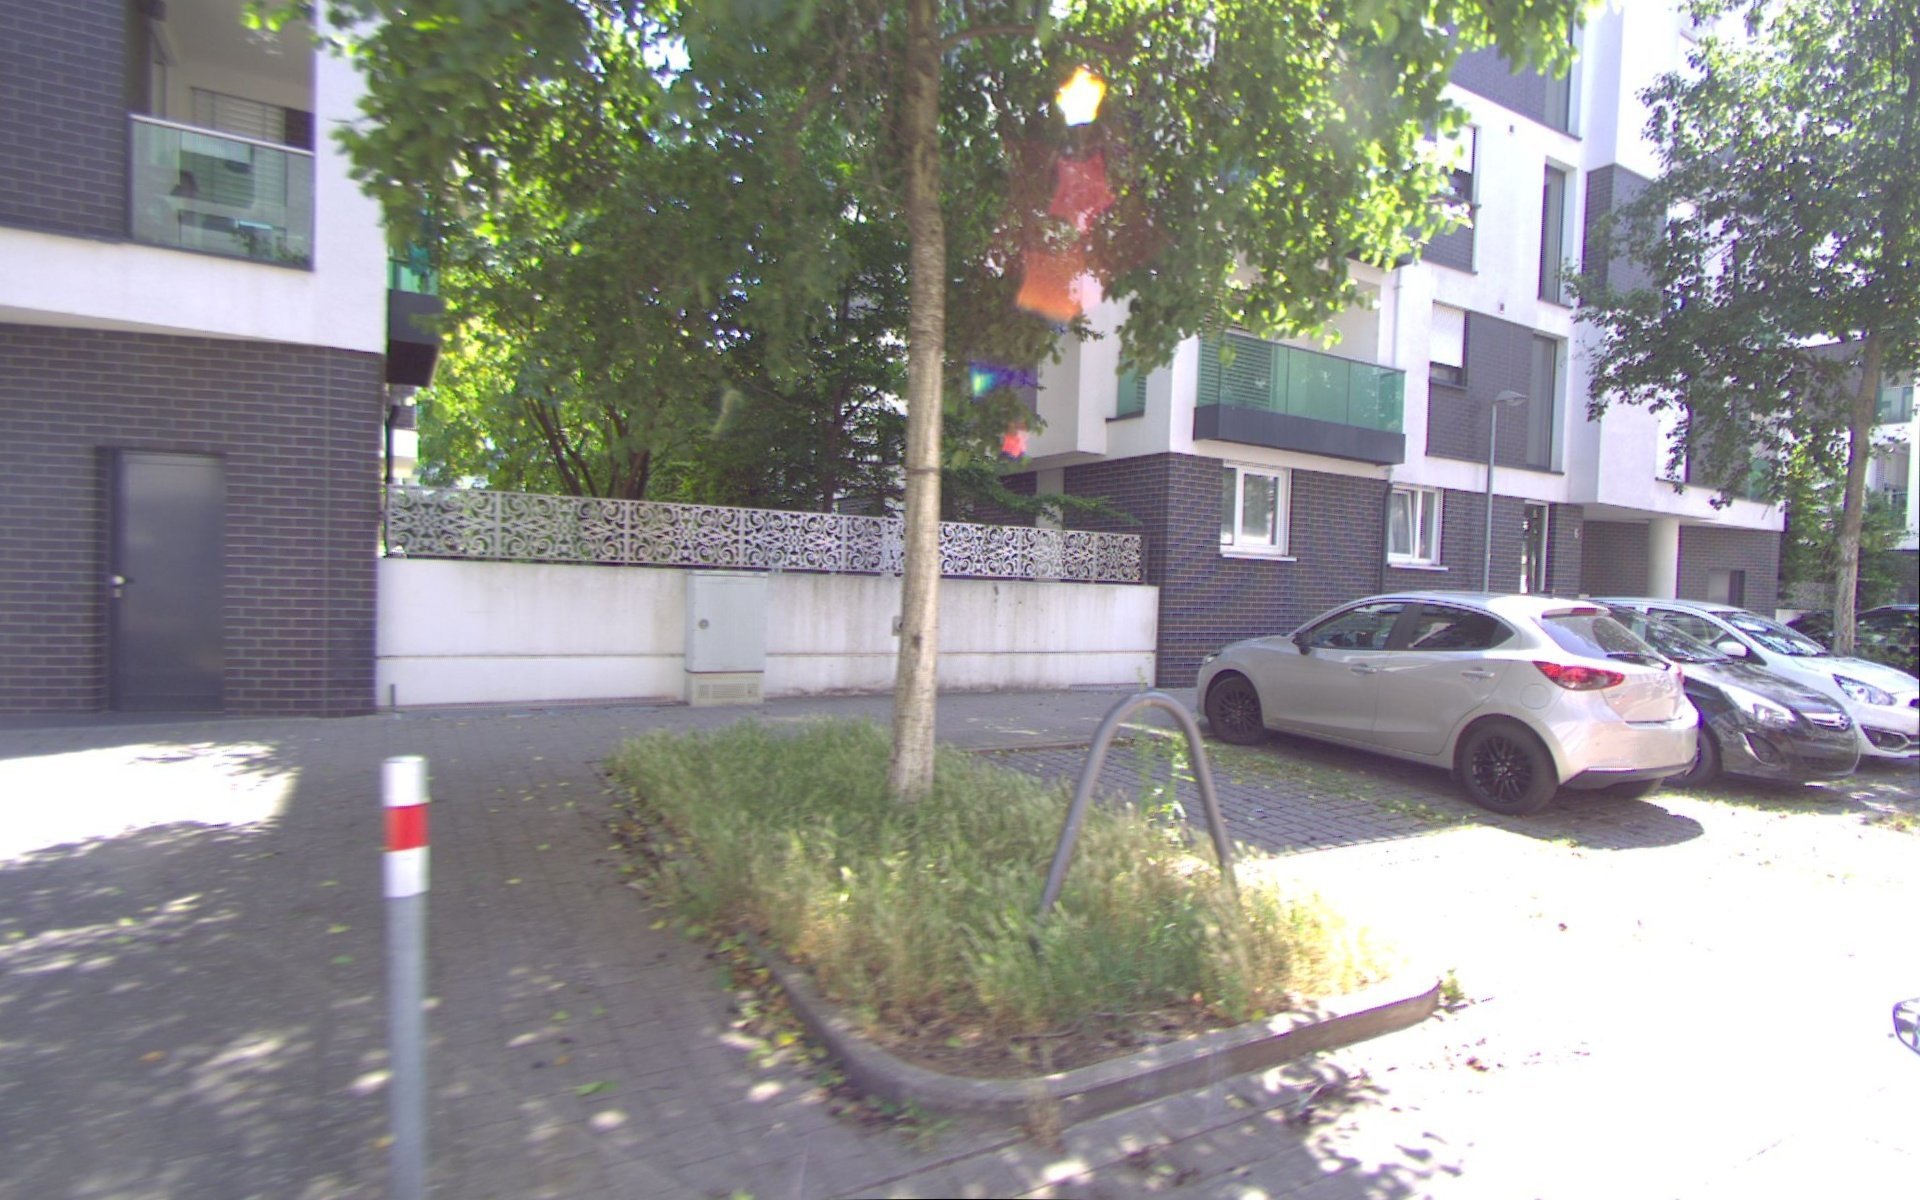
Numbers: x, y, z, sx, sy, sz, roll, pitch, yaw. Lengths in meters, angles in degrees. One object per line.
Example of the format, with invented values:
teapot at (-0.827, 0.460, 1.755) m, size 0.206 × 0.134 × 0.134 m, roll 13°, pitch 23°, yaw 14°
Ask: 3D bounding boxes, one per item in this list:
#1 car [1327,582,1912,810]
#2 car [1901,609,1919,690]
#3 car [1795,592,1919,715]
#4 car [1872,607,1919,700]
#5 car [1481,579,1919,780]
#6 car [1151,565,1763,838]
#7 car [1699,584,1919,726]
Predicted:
car at (5.895, 0.680, 9.616) m, size 1.771 × 1.496 × 4.295 m, roll 1°, pitch 3°, yaw -30°
car at (18.919, 1.006, 16.977) m, size 1.874 × 1.441 × 3.969 m, roll 1°, pitch 3°, yaw -29°
car at (14.682, 0.832, 14.191) m, size 1.894 × 1.673 × 3.970 m, roll 1°, pitch 2°, yaw -28°
car at (16.865, 0.962, 15.365) m, size 1.757 × 1.465 × 3.949 m, roll 1°, pitch 2°, yaw -34°
car at (8.115, 0.665, 10.881) m, size 1.861 × 1.613 × 3.968 m, roll 1°, pitch 3°, yaw -29°
car at (3.783, 0.583, 8.492) m, size 1.902 × 1.538 × 4.231 m, roll 1°, pitch 3°, yaw -30°
car at (12.422, 0.713, 13.120) m, size 1.910 × 1.651 × 3.967 m, roll 1°, pitch 2°, yaw -30°
